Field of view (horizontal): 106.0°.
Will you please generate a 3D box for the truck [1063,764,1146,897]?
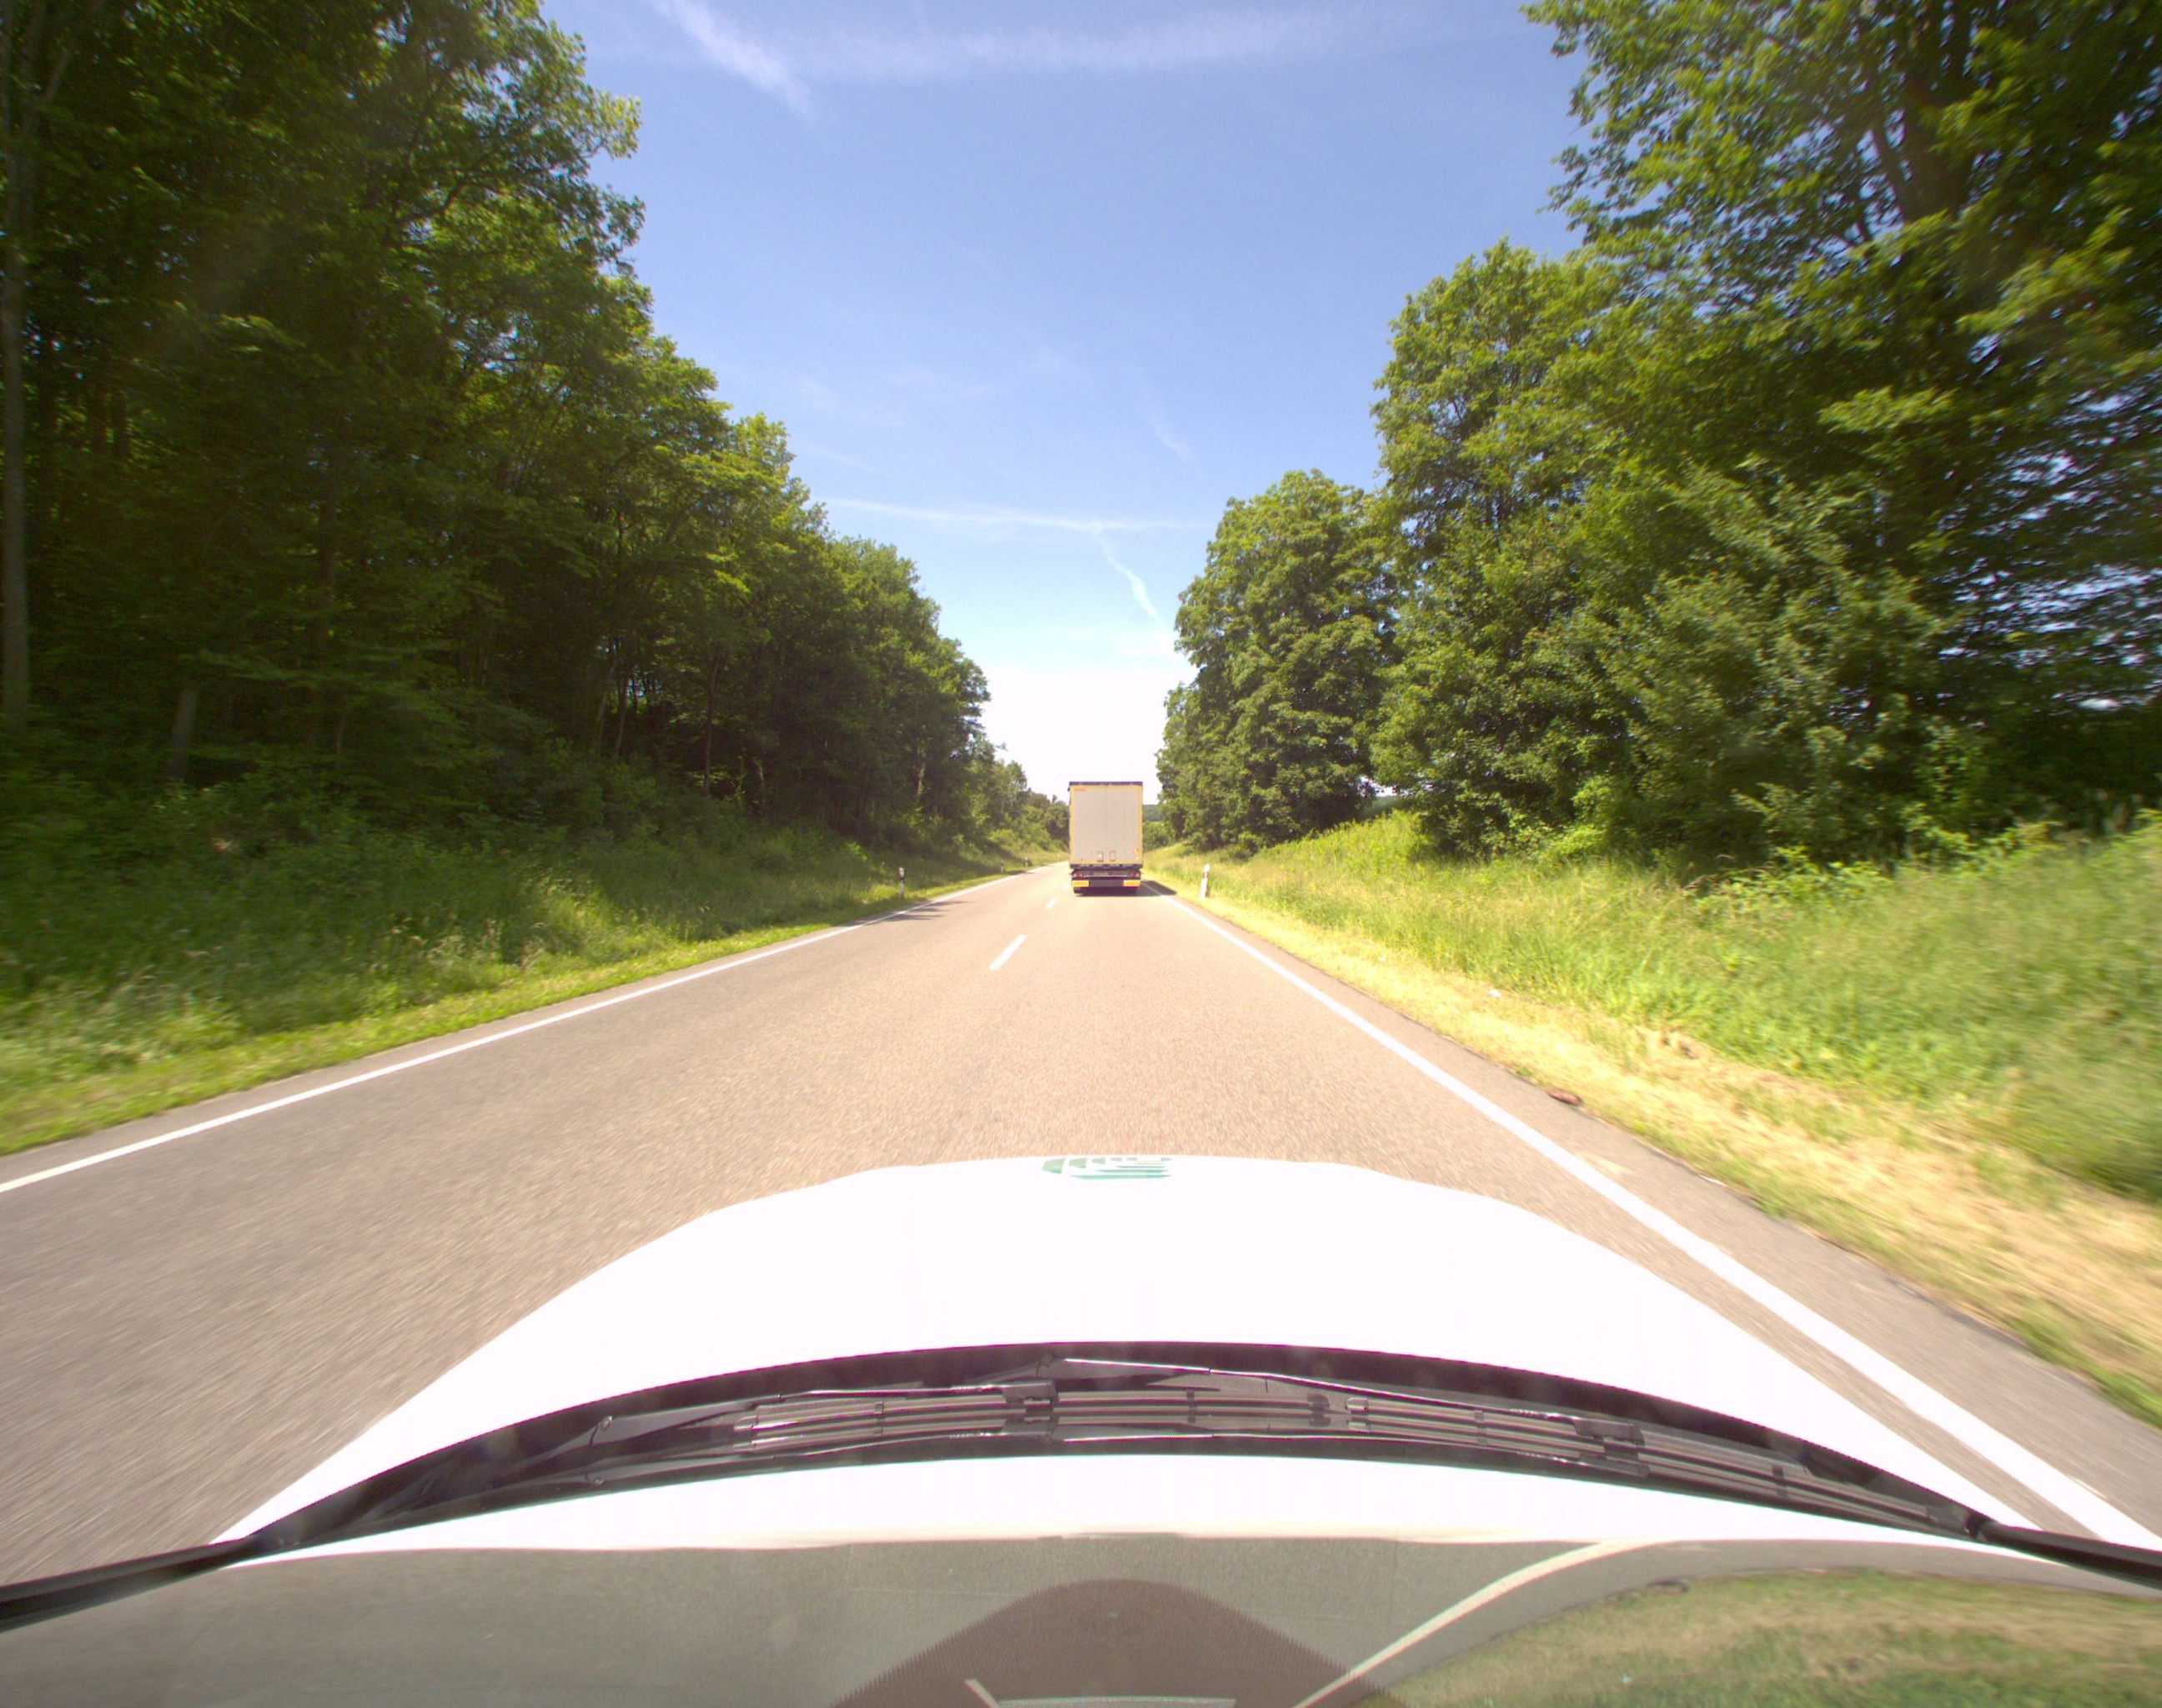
[{"bbox_3d":[0.932,-0.813,33.791,2.807,4.532,11.770,-1,0,1],"label":"truck"}]
